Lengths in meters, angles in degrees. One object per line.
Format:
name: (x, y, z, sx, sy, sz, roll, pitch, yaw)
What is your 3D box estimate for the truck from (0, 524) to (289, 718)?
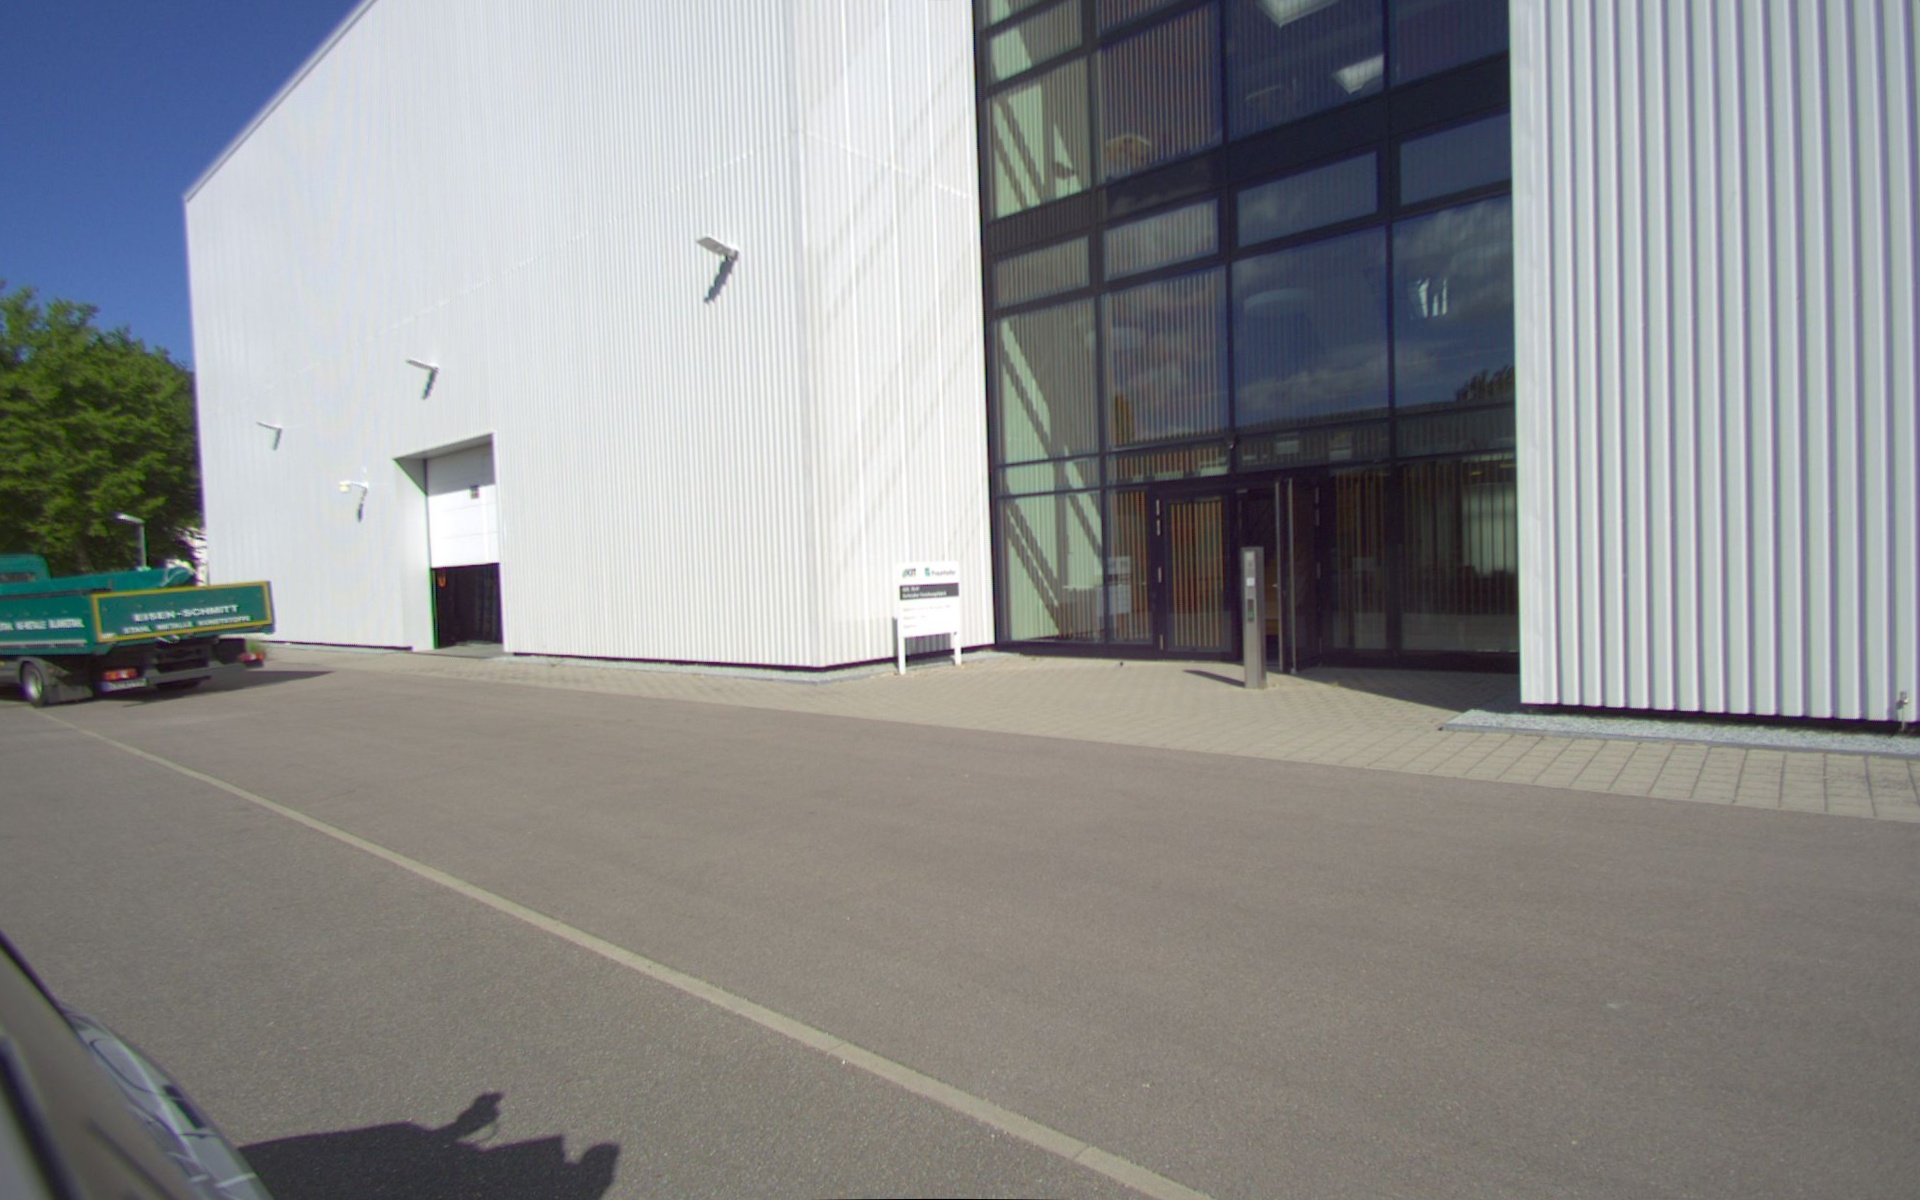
truck: (-15.996, 0.364, 17.840, 9.650, 2.736, 2.566, -2, 3, 28)
